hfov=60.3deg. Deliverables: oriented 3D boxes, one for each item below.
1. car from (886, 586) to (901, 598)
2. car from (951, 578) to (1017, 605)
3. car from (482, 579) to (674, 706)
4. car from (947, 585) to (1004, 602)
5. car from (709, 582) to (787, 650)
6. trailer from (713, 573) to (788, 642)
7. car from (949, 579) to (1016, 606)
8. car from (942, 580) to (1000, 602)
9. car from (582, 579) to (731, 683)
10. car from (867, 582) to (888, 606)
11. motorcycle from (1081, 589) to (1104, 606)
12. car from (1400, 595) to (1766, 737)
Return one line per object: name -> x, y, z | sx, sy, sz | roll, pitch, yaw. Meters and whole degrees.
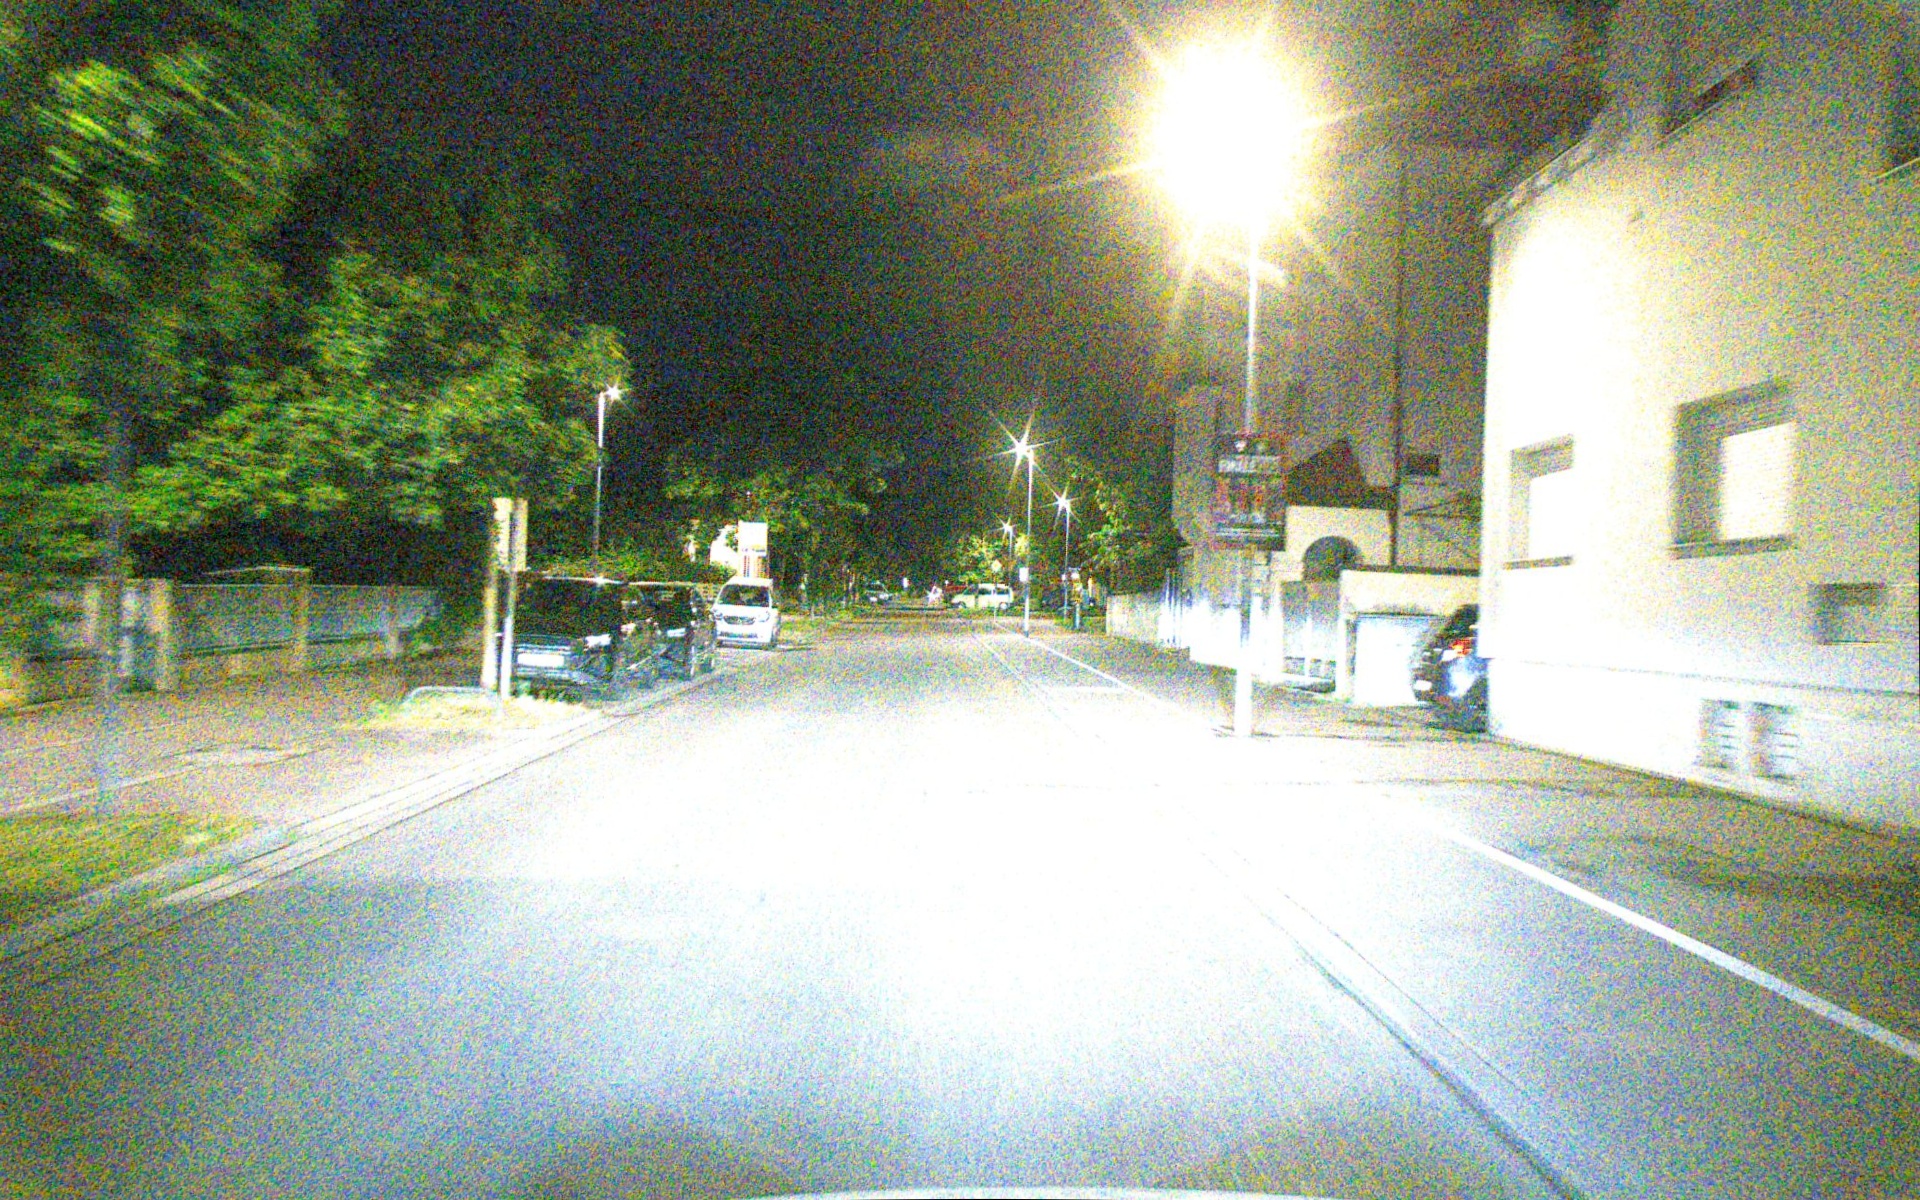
car -> -7.384, -0.892, 183.271 | 1.649, 1.354, 3.598 | 1, 0, -3
car -> 1.904, -0.666, 131.177 | 5.079, 2.049, 2.101 | 0, 0, -3
car -> -5.098, 0.508, 22.620 | 1.653, 1.536, 4.278 | 1, 0, -1
car -> 1.395, -0.583, 150.155 | 5.079, 1.495, 2.101 | 0, 0, -3
car -> -5.306, 0.368, 41.675 | 1.638, 1.548, 2.977 | 4, 0, -3
trailer -> -5.643, 0.197, 44.885 | 1.418, 1.717, 3.426 | 3, 0, 1
car -> 1.708, -0.618, 128.108 | 5.079, 2.049, 2.101 | 0, 0, -3
car -> 1.046, -0.832, 152.863 | 5.072, 1.920, 2.103 | 0, 0, 8
car -> -4.981, 0.462, 27.662 | 1.731, 1.545, 4.277 | 2, 0, -1
car -> -7.558, -0.558, 151.442 | 1.788, 2.021, 4.463 | 3, 0, -3
motorcycle -> 10.780, -0.202, 134.307 | 1.048, 1.350, 2.706 | 1, 1, 22
car -> 7.188, 0.736, 19.348 | 3.634, 1.499, 1.731 | 1, 0, 1
